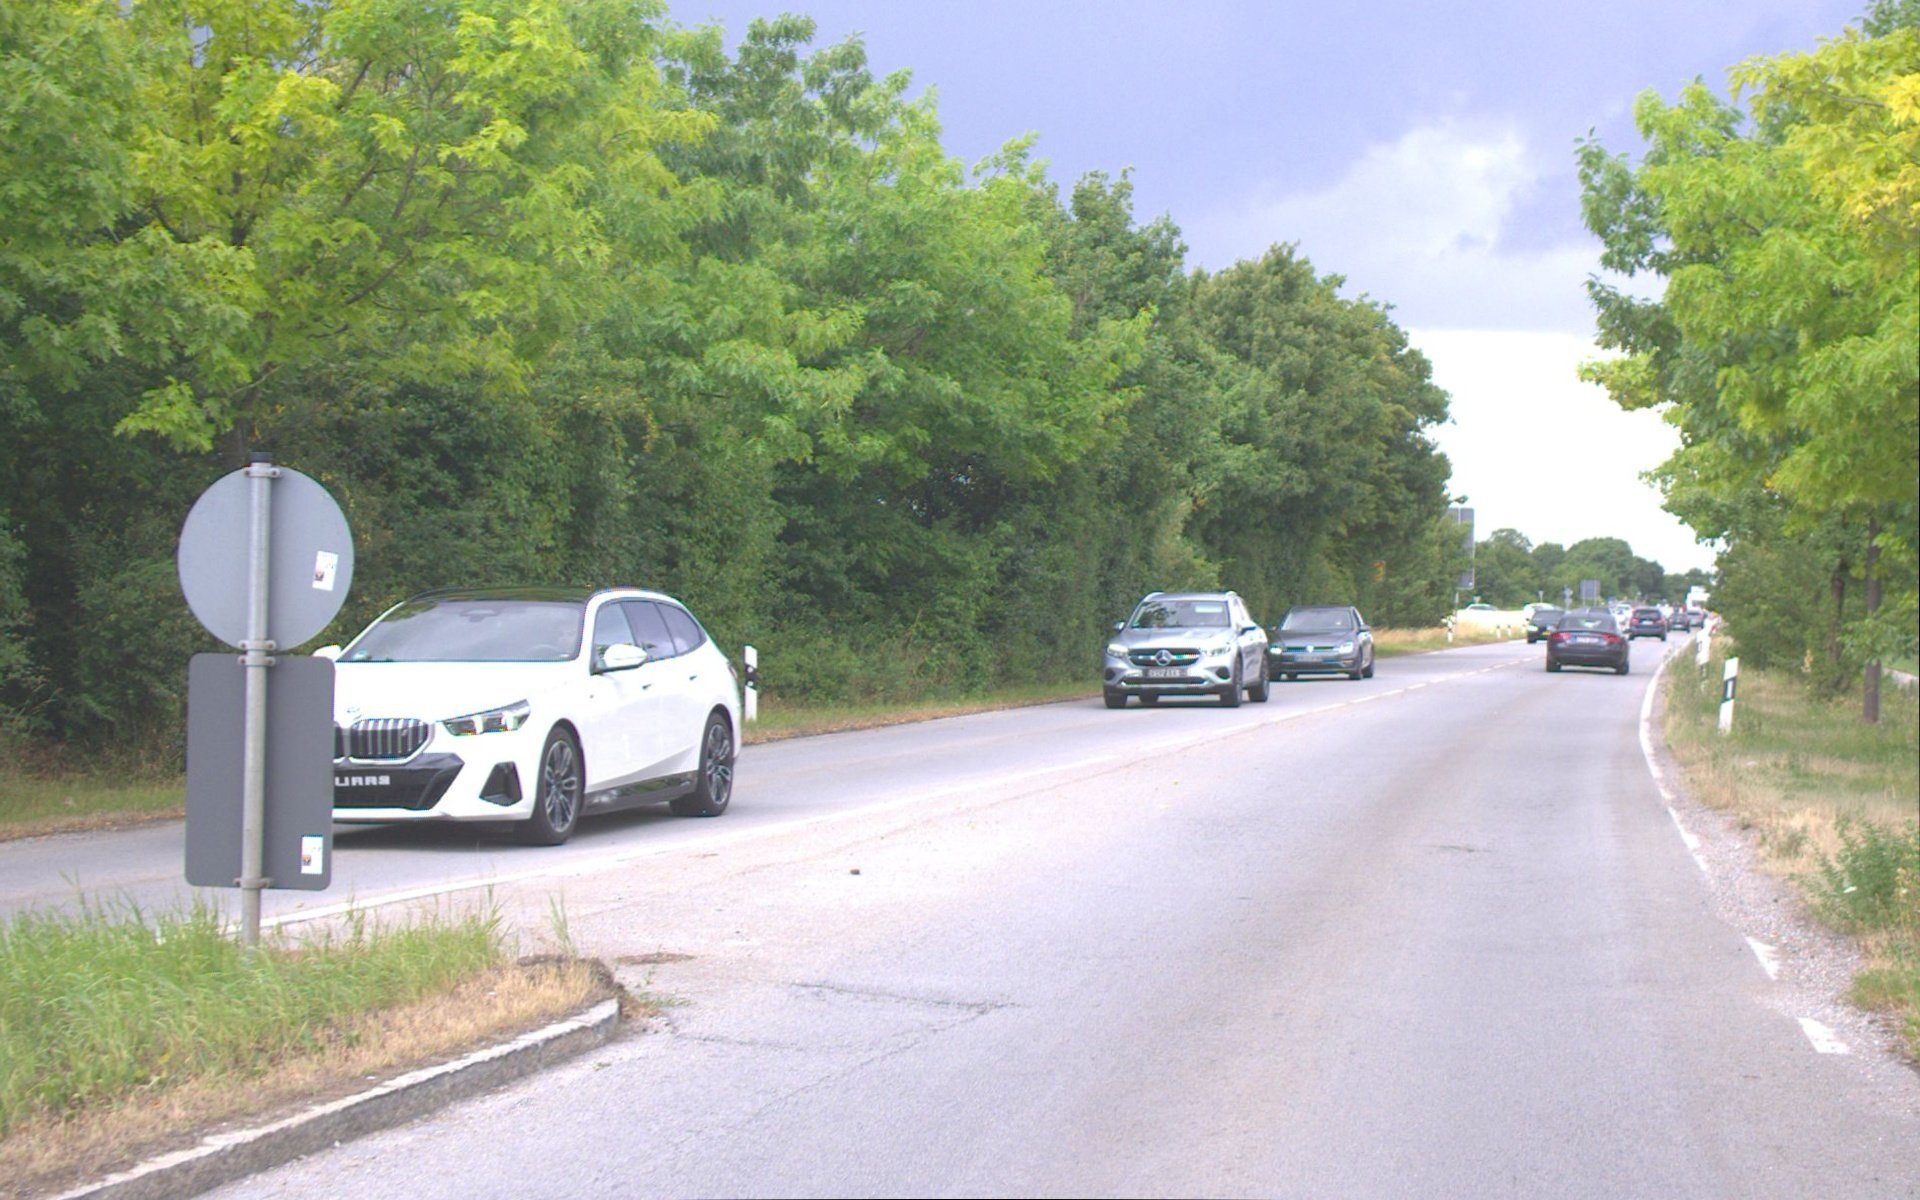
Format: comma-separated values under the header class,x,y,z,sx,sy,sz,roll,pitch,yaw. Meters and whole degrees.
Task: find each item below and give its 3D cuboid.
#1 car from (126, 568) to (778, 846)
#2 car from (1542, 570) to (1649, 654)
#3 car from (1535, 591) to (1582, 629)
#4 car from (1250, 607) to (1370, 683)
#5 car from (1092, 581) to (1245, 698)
class,x,y,z,sx,sy,sz,roll,pitch,yaw
car,-2.929,0.551,21.174,2.214,1.449,4.939,1,1,15
car,14.759,0.275,79.869,2.373,1.874,4.476,0,0,10
car,25.606,0.430,146.973,1.941,1.581,4.554,0,0,10
car,6.859,0.857,67.087,1.994,1.414,4.476,0,0,10
car,3.038,0.544,49.277,1.994,1.596,4.664,0,0,6
